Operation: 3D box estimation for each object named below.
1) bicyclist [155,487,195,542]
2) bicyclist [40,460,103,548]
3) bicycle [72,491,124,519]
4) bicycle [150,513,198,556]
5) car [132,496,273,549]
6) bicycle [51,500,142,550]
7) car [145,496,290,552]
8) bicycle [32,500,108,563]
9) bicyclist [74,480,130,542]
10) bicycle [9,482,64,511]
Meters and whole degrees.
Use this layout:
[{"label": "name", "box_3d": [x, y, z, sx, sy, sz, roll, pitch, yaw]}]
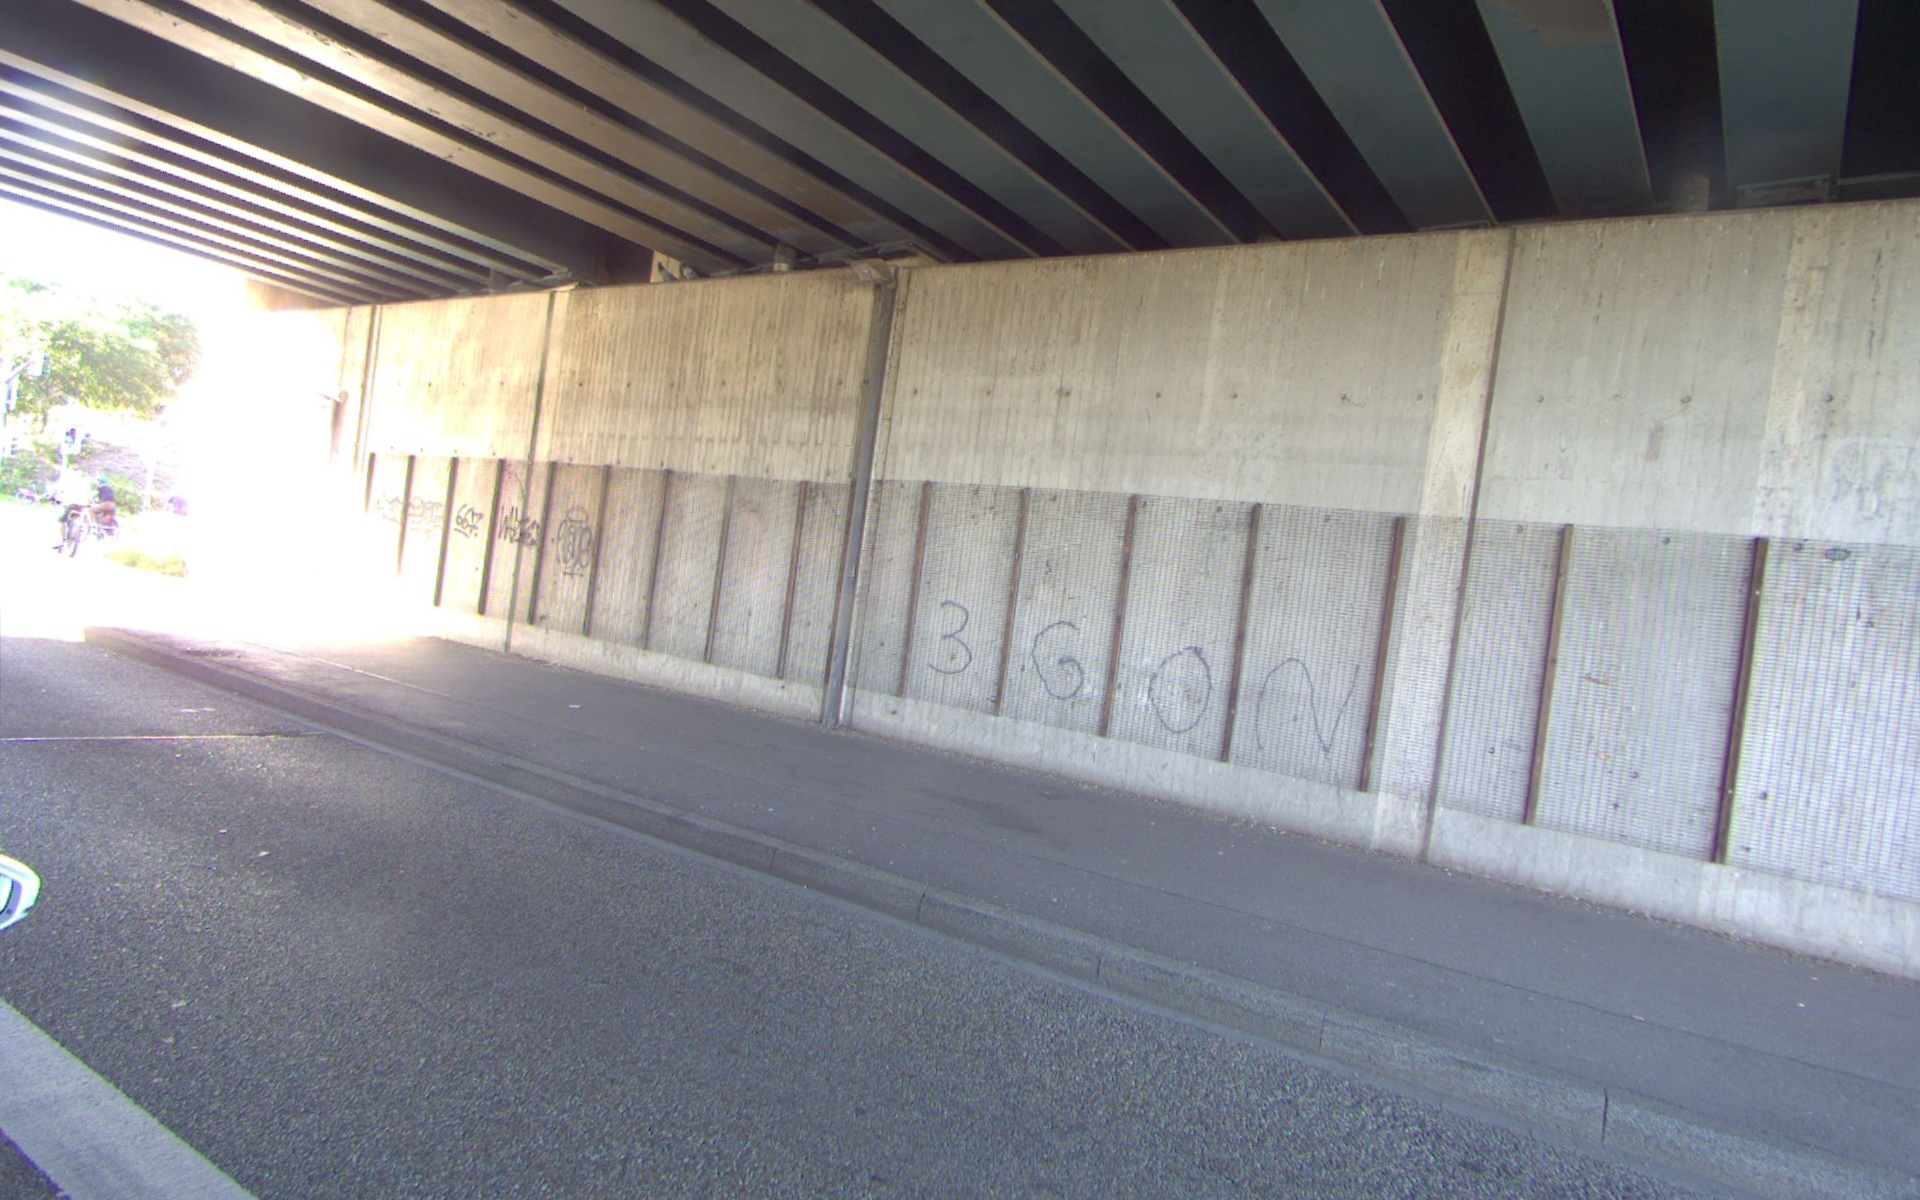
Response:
[{"label": "bicyclist", "box_3d": [-23.138, -2.515, 29.656, 0.609, 1.499, 0.649, 8, 0, 38]}, {"label": "bicyclist", "box_3d": [-17.054, -1.837, 19.308, 0.757, 1.566, 0.592, 6, -1, 34]}, {"label": "bicycle", "box_3d": [-41.021, -4.523, 47.879, 0.586, 1.035, 1.743, 6, -2, 43]}, {"label": "bicycle", "box_3d": [-23.177, -1.945, 29.640, 1.724, 1.036, 0.667, 9, 1, 39]}, {"label": "car", "box_3d": [-33.300, -3.372, 44.334, 1.801, 1.531, 4.548, 6, -3, 39]}, {"label": "bicycle", "box_3d": [-23.031, -1.991, 26.835, 2.016, 1.035, 0.674, 7, -1, 13]}, {"label": "car", "box_3d": [-31.312, -3.179, 42.556, 1.801, 1.531, 4.548, 6, -3, 39]}, {"label": "bicycle", "box_3d": [-17.058, -1.321, 19.273, 1.722, 1.035, 0.592, 6, -1, 34]}, {"label": "bicyclist", "box_3d": [-22.855, -2.359, 26.805, 0.737, 1.491, 0.668, 7, -1, 13]}, {"label": "bicycle", "box_3d": [-42.977, -4.797, 46.828, 0.585, 1.035, 1.744, 6, -2, 40]}]
